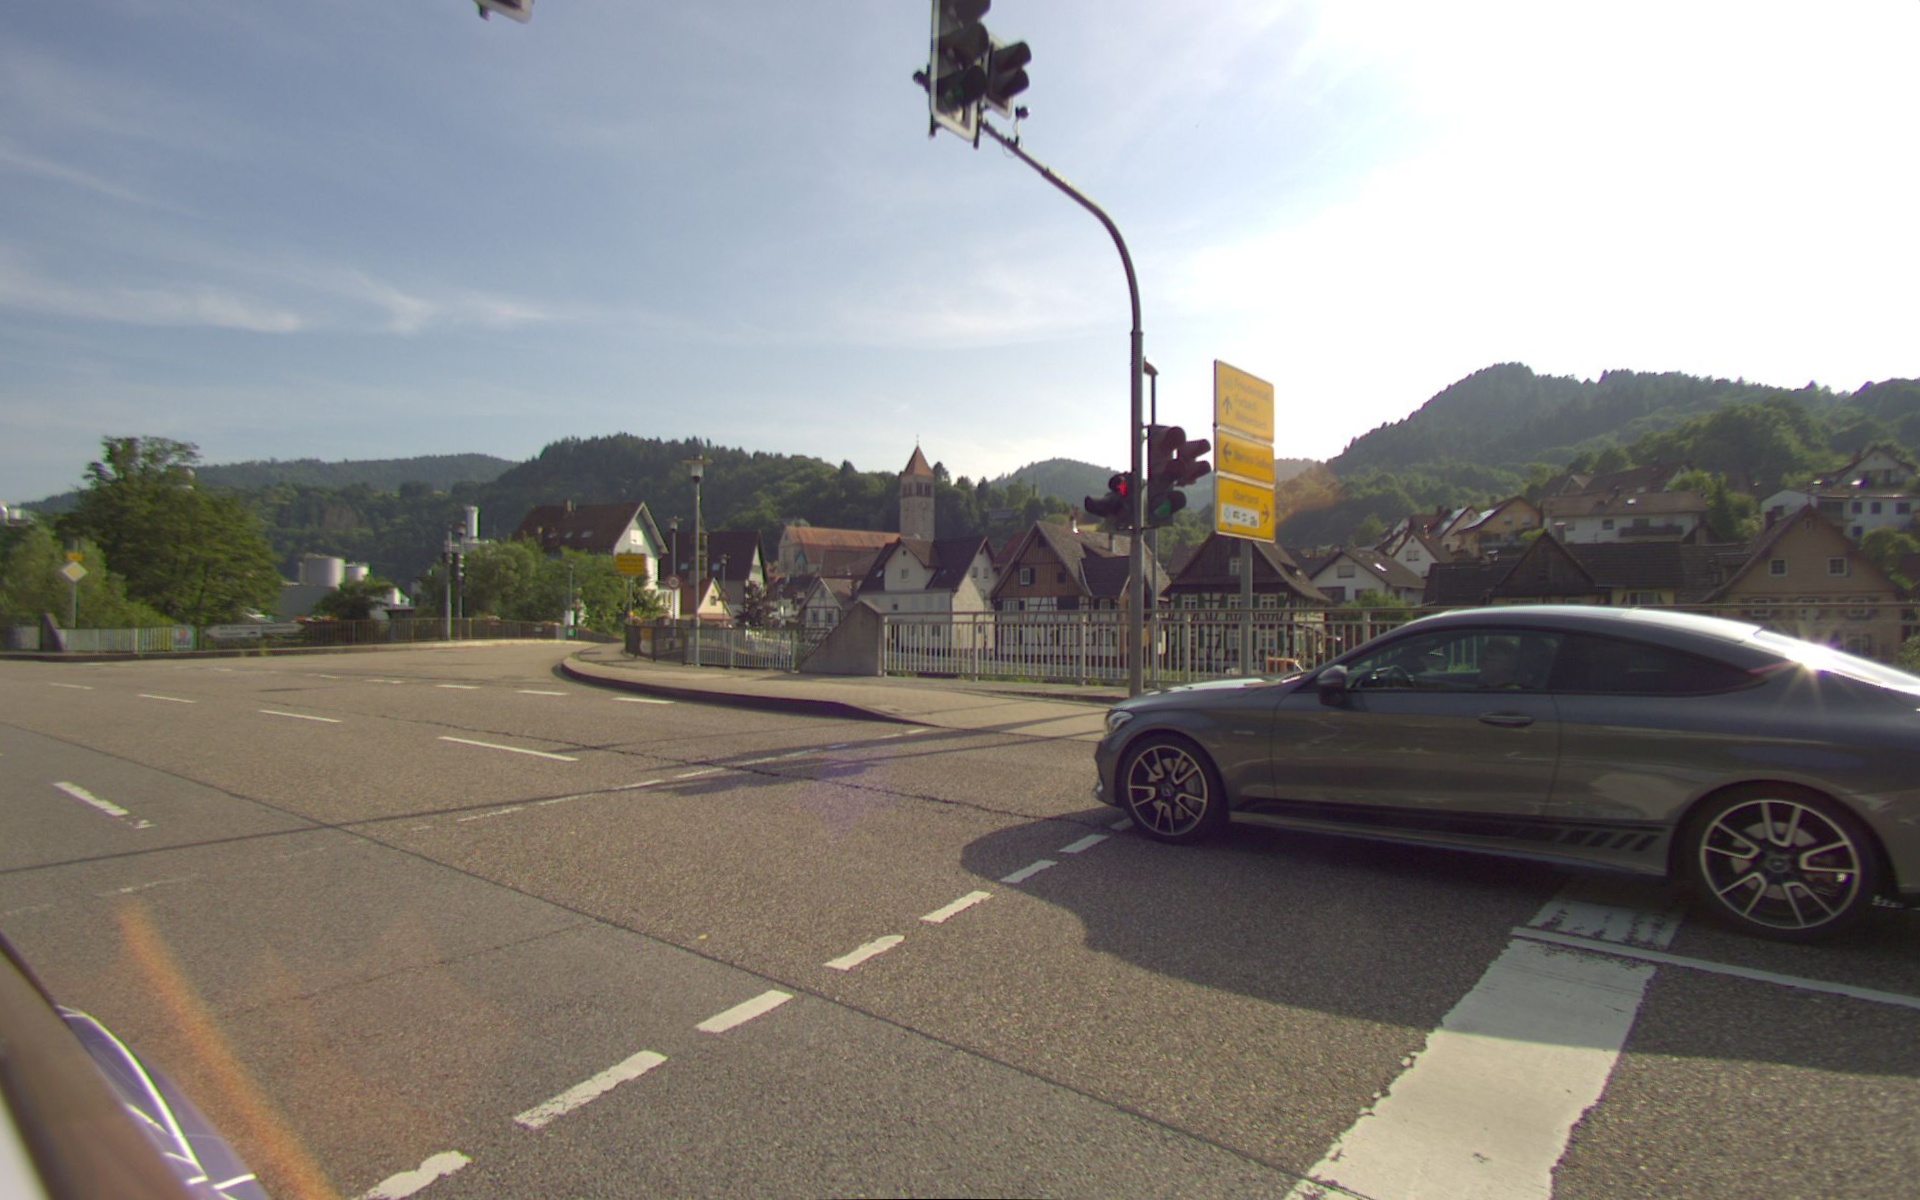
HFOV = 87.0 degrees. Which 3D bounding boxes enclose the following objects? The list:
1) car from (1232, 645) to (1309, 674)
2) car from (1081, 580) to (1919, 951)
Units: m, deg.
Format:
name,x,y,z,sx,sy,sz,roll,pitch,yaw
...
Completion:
name,x,y,z,sx,sy,sz,roll,pitch,yaw
car,19.775,3.774,64.487,4.524,1.705,1.482,-1,-1,29
car,3.089,0.637,5.399,4.639,1.388,1.753,-1,0,40
